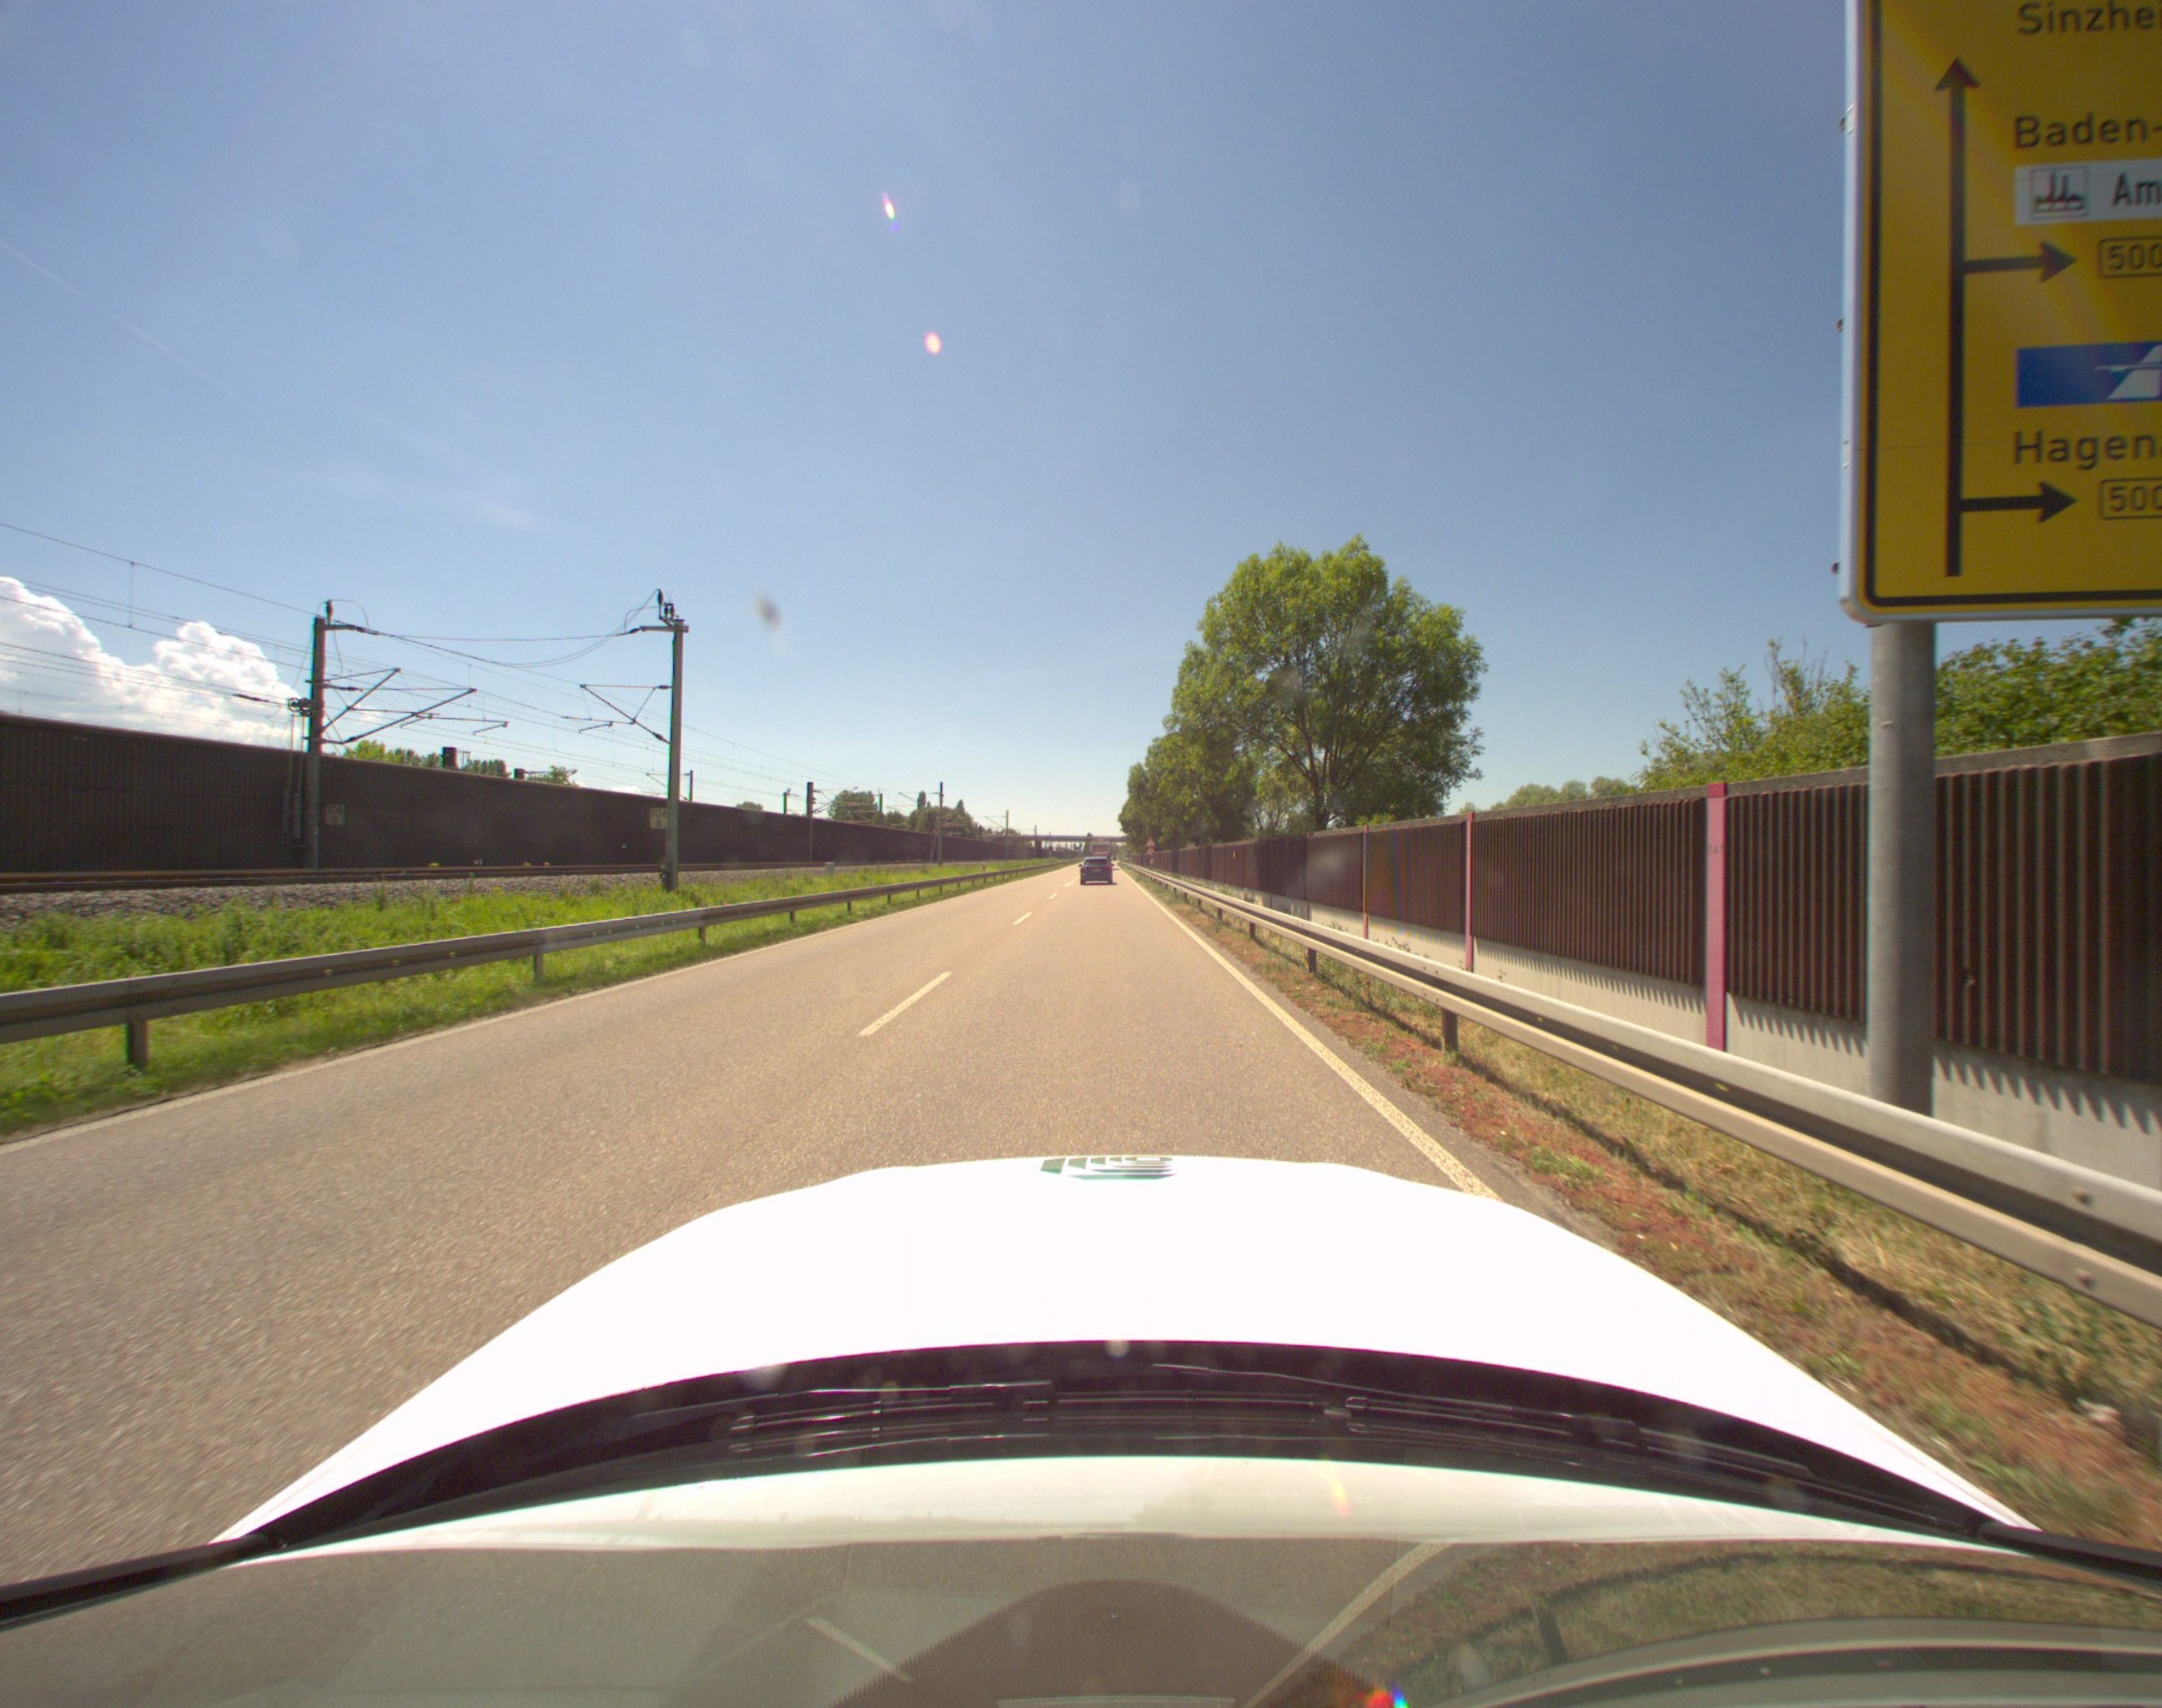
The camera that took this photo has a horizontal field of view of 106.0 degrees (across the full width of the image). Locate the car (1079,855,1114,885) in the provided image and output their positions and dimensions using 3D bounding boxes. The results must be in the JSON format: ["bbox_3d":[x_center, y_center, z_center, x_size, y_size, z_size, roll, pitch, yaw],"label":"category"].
[{"bbox_3d":[0.945,0.912,46.448,1.837,1.623,4.229,0,0,3],"label":"car"}]

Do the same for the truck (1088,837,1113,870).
[{"bbox_3d":[2.511,-0.030,100.220,2.822,3.821,11.891,0,0,2],"label":"truck"}]
